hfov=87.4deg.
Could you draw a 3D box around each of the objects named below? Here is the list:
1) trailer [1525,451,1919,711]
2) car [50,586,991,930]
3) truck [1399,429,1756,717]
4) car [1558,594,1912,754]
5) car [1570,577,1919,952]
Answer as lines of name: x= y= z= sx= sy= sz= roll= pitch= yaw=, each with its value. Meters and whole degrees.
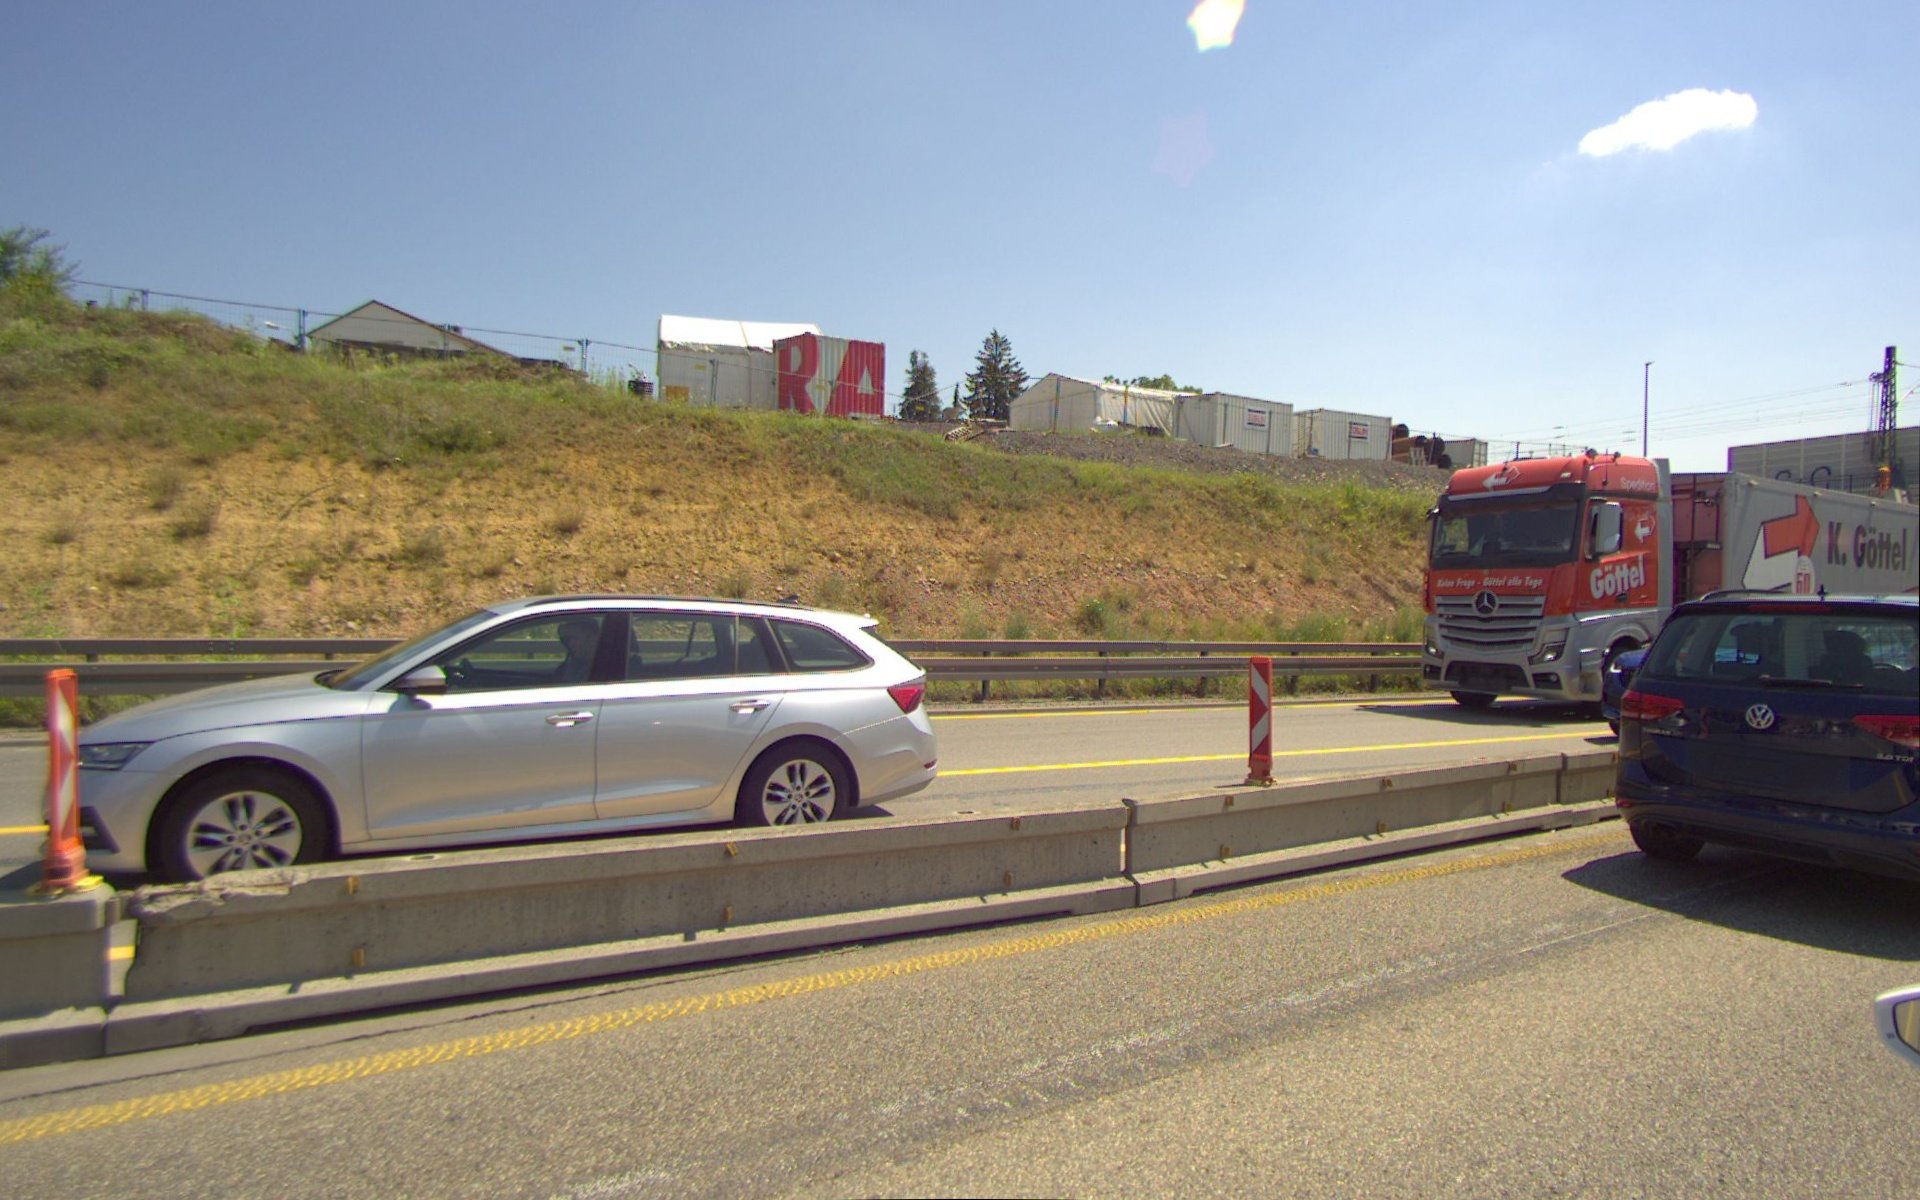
trailer: x=15.404 y=-0.139 z=19.070 sx=11.684 sy=3.866 sz=2.642 roll=2 pitch=0 yaw=-31
car: x=-2.211 y=0.695 z=6.051 sx=4.475 sy=1.448 sz=1.827 roll=1 pitch=0 yaw=-26
truck: x=9.866 y=-0.305 z=15.975 sx=5.317 sy=3.879 sz=2.573 roll=2 pitch=0 yaw=-30
car: x=9.757 y=0.812 z=12.572 sx=4.627 sy=1.686 sz=1.826 roll=1 pitch=0 yaw=-29
car: x=5.827 y=0.755 z=6.092 sx=4.336 sy=1.657 sz=1.726 roll=1 pitch=0 yaw=-29
